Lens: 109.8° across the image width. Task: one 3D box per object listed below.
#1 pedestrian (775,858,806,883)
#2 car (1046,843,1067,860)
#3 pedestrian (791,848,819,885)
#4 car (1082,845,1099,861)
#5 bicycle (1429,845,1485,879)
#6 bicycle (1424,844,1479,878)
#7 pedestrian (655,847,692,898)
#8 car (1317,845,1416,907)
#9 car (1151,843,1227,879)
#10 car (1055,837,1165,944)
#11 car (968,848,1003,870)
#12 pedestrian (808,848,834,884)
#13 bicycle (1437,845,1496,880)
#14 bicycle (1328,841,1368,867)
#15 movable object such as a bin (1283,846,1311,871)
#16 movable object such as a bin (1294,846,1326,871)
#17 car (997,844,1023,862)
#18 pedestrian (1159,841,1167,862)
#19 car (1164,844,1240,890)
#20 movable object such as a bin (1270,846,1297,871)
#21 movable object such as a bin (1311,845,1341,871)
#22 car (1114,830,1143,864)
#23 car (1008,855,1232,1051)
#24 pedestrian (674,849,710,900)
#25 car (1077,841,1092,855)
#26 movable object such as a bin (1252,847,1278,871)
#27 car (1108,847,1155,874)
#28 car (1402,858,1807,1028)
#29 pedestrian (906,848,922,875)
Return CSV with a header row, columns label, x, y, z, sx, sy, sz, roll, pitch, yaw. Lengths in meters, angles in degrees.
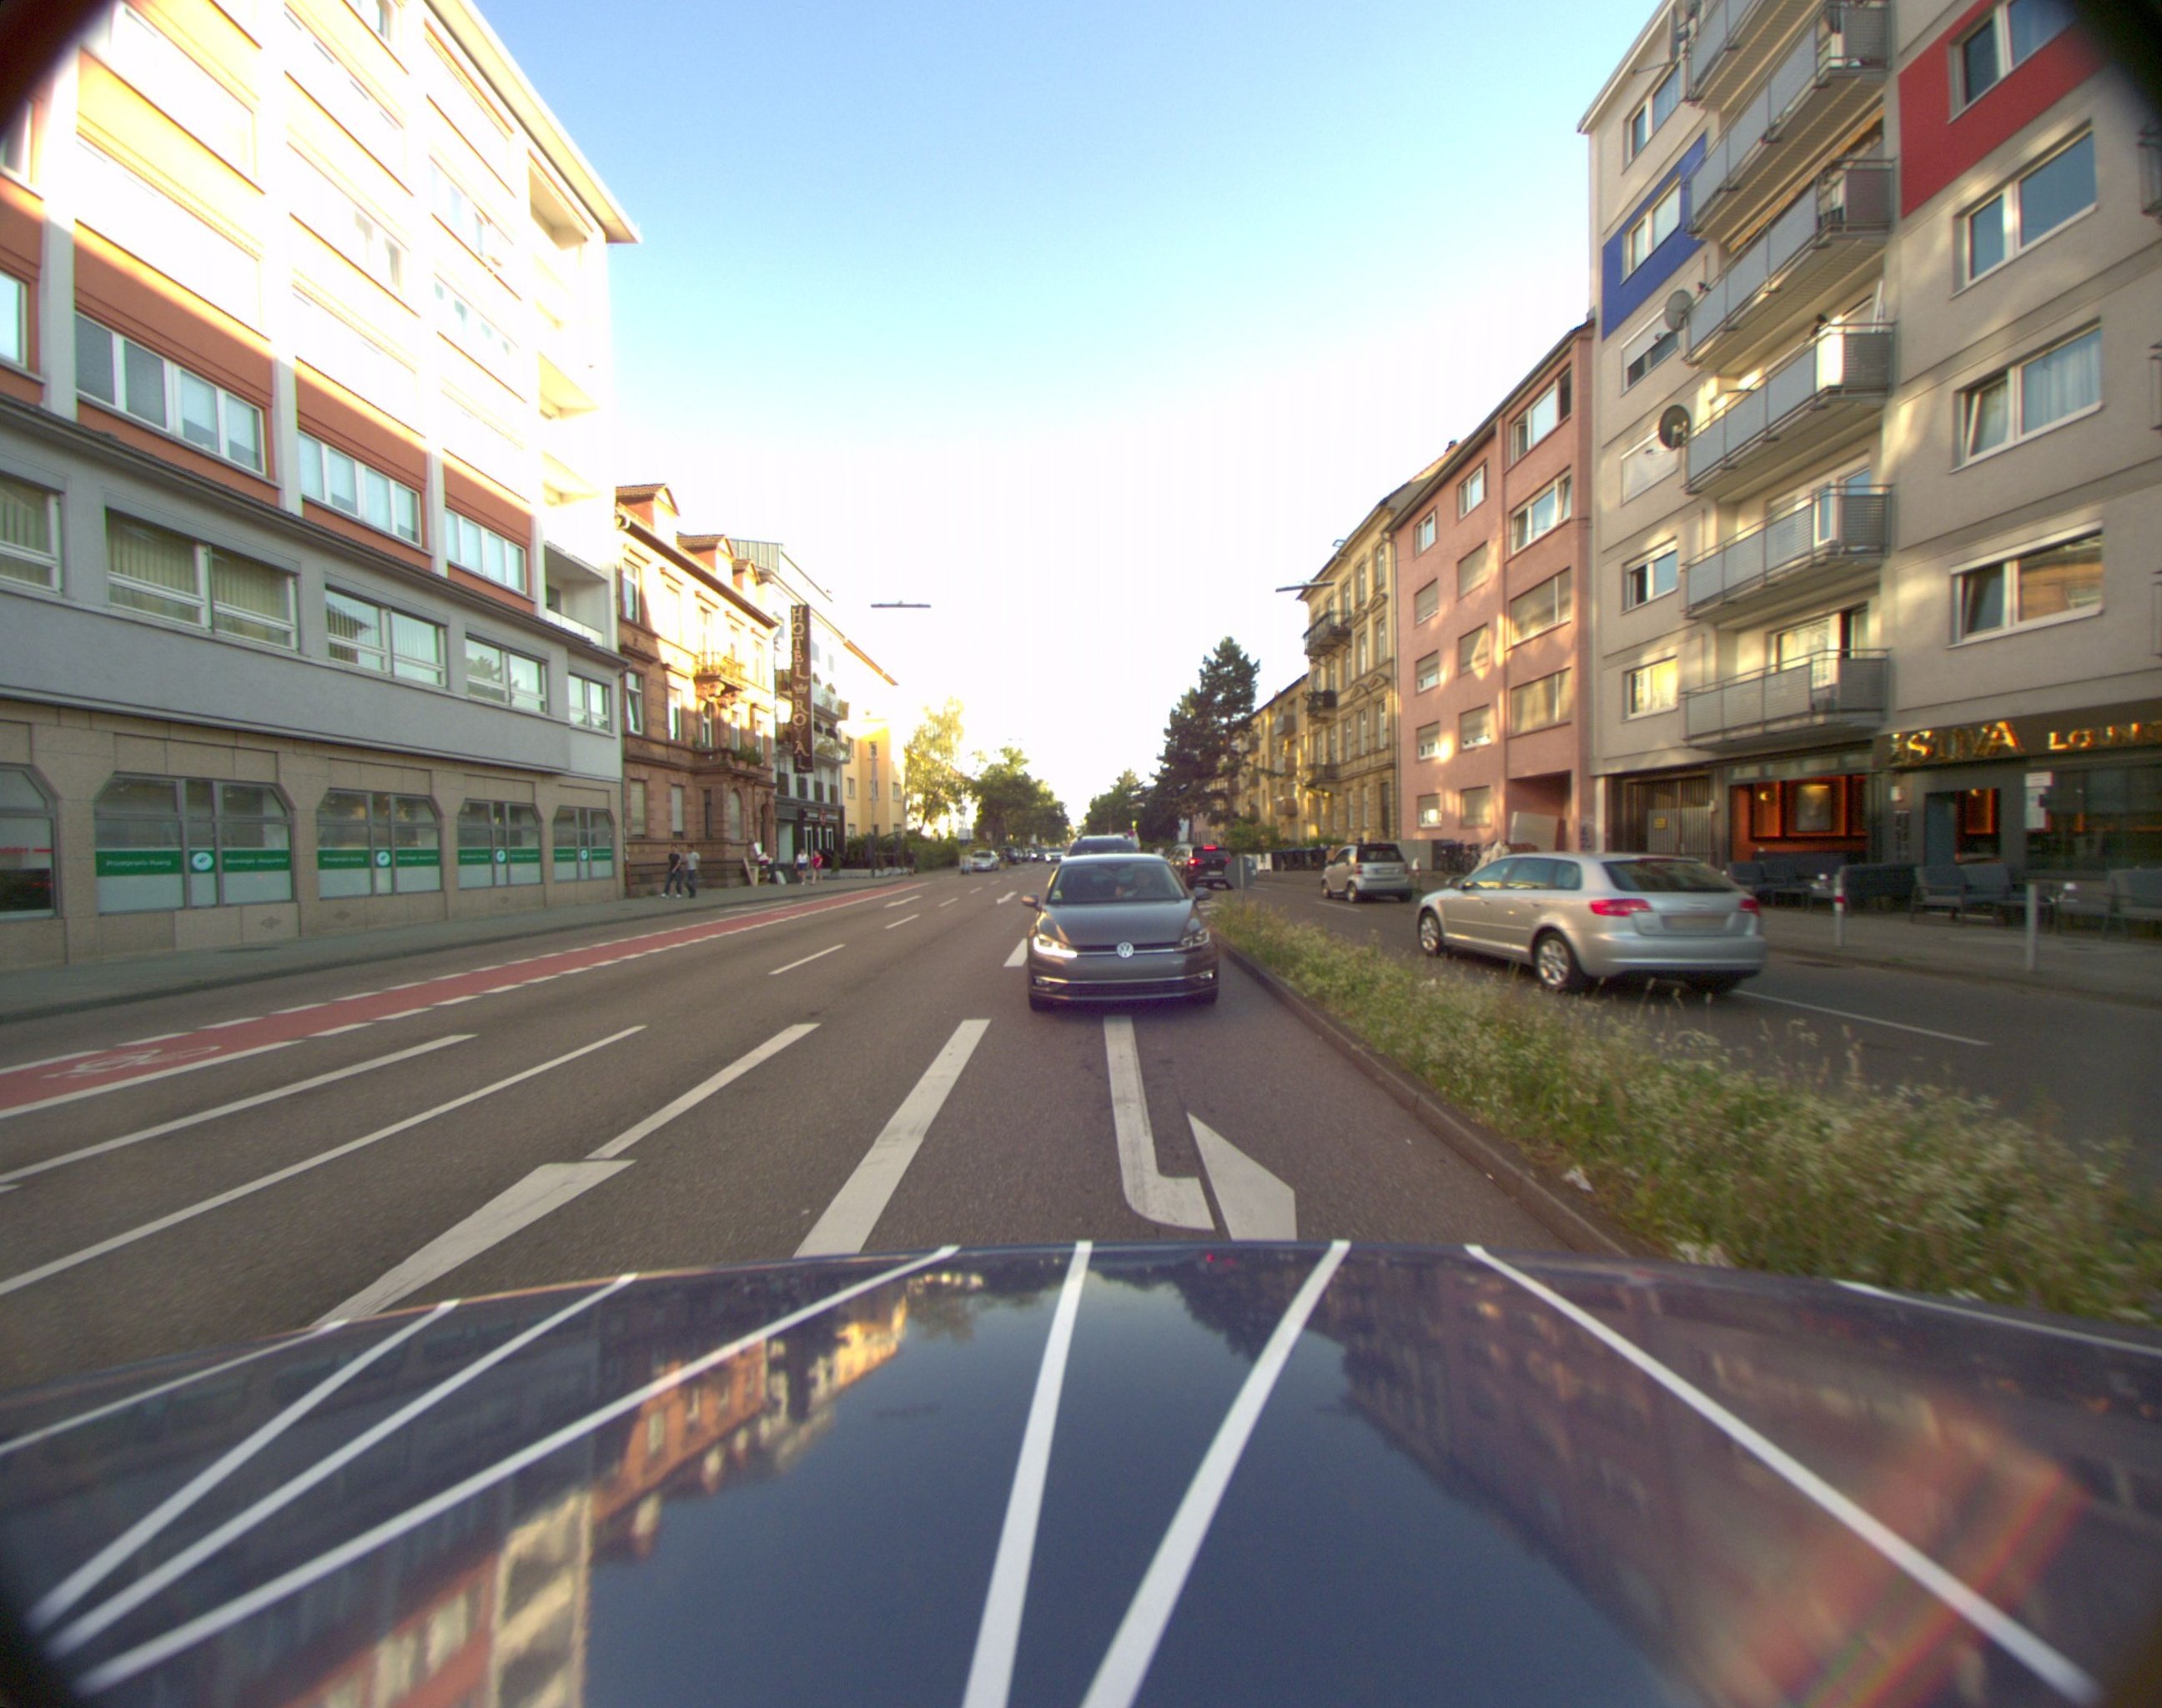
label,x,y,z,sx,sy,sz,roll,pitch,yaw
pedestrian,-13.466,0.754,35.255,1.100,1.129,0.924,-1,1,-2
car,-2.311,-0.259,72.725,1.907,1.532,3.999,-1,1,0
pedestrian,-12.553,0.555,34.521,0.786,1.579,1.011,3,2,5
car,0.959,-0.135,76.979,1.596,1.533,3.403,0,1,-1
bicycle,13.362,0.280,27.024,1.780,1.184,0.473,-1,1,-2
bicycle,13.447,0.265,27.603,1.780,1.184,0.473,-1,1,-2
pedestrian,-14.252,0.637,26.583,0.668,1.716,1.011,-1,1,2
car,7.747,0.542,20.842,1.539,1.584,2.807,0,1,-3
car,5.019,0.296,35.783,1.727,1.619,4.094,0,1,-22
car,0.512,0.603,15.347,1.895,1.843,4.465,0,1,0
car,-6.936,0.326,55.397,1.905,1.509,4.074,-1,1,1
pedestrian,-11.820,0.548,34.549,0.738,1.579,1.011,3,2,5
bicycle,13.335,0.288,26.291,1.780,1.184,0.473,-1,1,-2
bicycle,13.002,-0.003,36.993,1.780,1.184,0.473,-1,1,-2
movable object such as a bin,11.137,0.215,39.133,1.195,1.226,0.847,-2,2,-39
movable object such as a bin,11.522,0.213,38.236,1.295,1.226,0.926,-2,2,-39
car,-6.652,-0.096,71.185,1.947,1.616,4.193,-1,1,0
pedestrian,6.142,-0.192,57.015,0.577,1.591,0.481,-1,1,1
car,4.272,0.419,27.465,1.680,1.535,4.099,0,1,-6
movable object such as a bin,10.614,0.224,39.842,1.195,1.226,0.847,-2,2,-39
movable object such as a bin,12.090,0.205,37.487,1.195,1.226,0.847,-2,2,-39
car,3.945,-0.621,63.461,2.136,2.741,4.465,0,1,0
car,0.359,0.815,8.347,1.770,1.450,4.269,-2,1,1
pedestrian,-13.532,0.693,26.478,0.668,1.716,1.011,-1,1,2
car,0.496,-0.815,98.557,1.895,1.843,4.700,0,1,1
movable object such as a bin,9.754,0.252,40.344,0.847,1.226,1.196,0,2,42
car,2.830,0.357,43.472,1.598,1.463,3.980,-1,1,-13
car,5.428,0.788,8.664,1.713,1.417,4.101,0,1,-1
pedestrian,-9.960,0.437,45.252,0.738,1.593,1.010,1,1,-2
